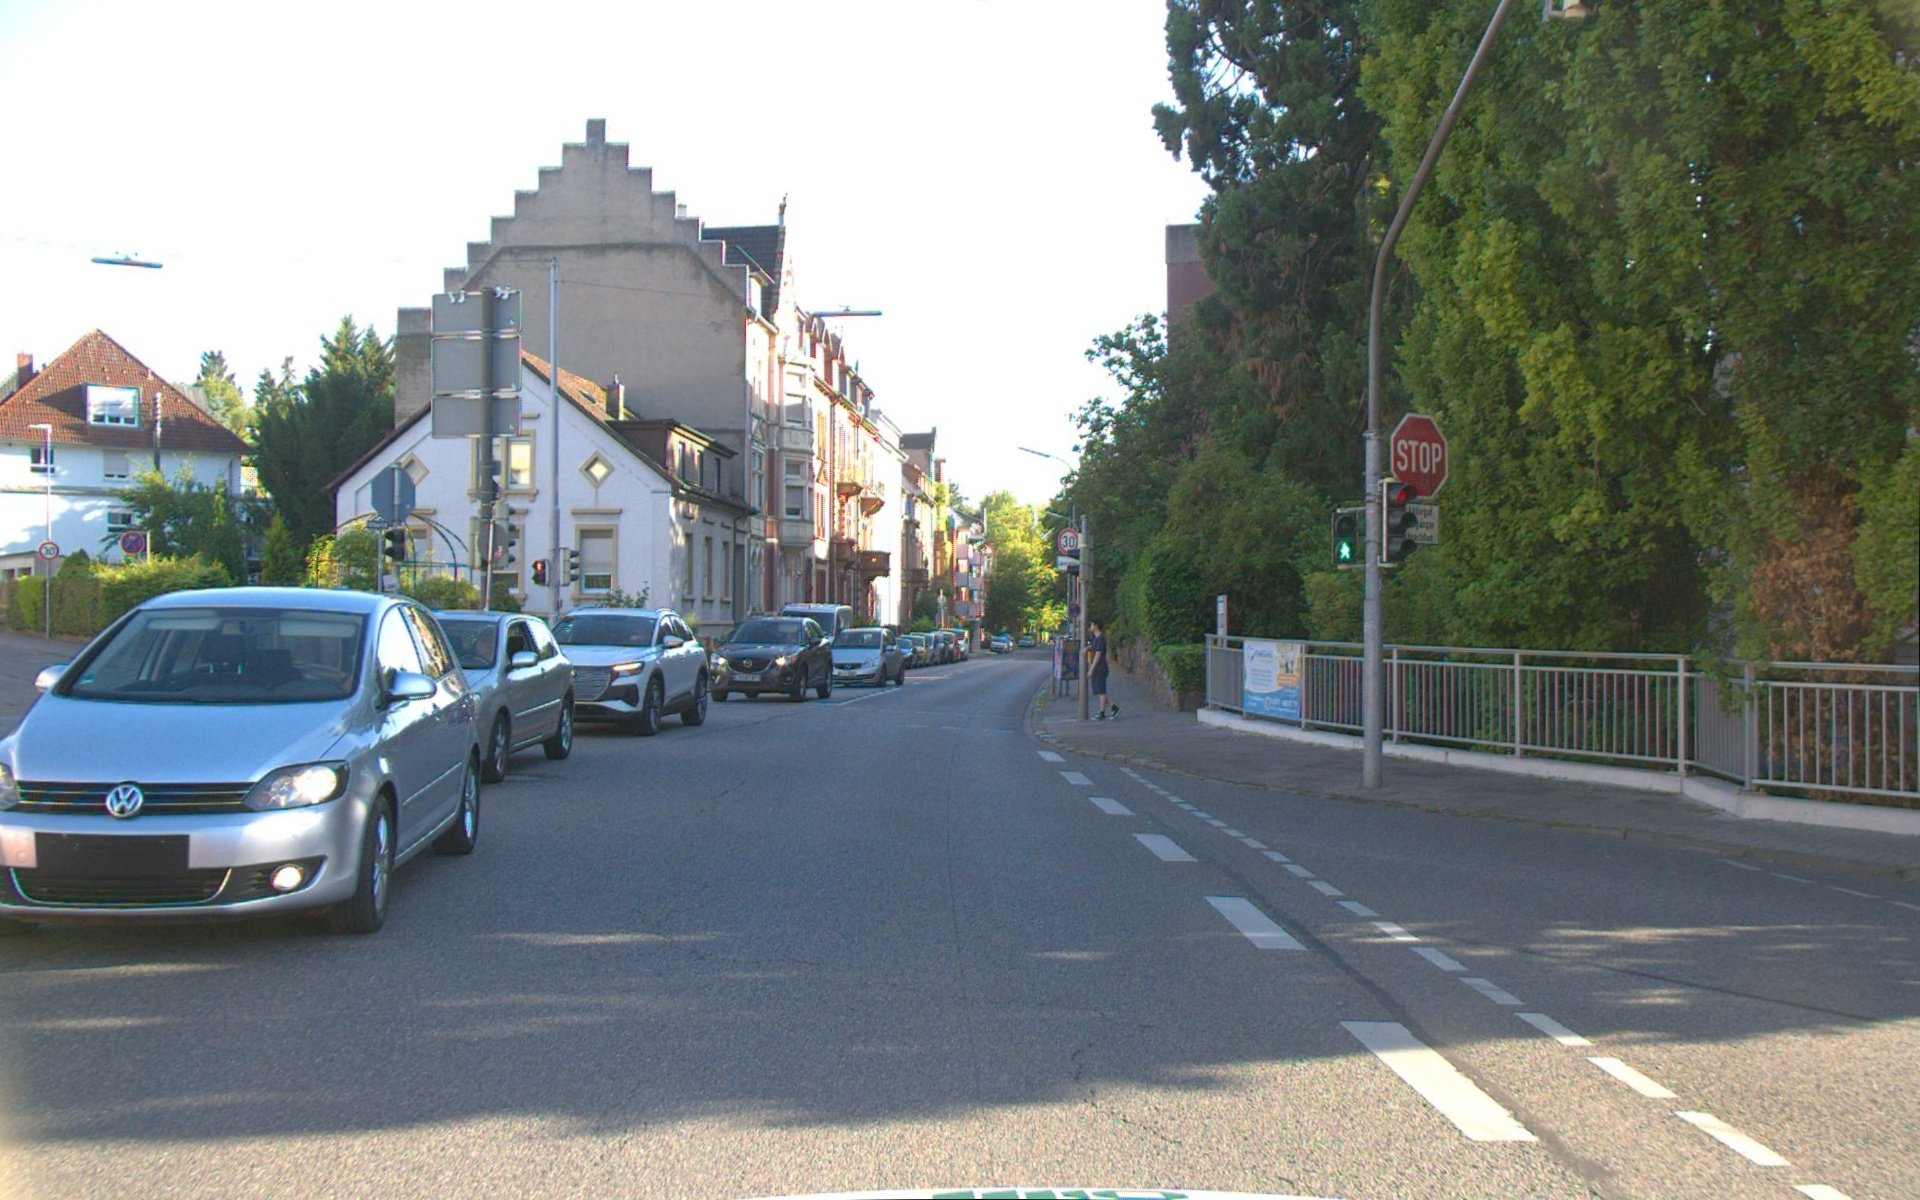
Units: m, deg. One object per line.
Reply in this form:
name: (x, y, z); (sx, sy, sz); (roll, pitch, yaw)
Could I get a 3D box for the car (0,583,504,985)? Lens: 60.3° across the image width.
car: (-3.554, 0.728, 8.546); (1.742, 1.570, 3.993); (1, 0, -8)

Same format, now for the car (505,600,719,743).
car: (-4.563, 0.869, 22.371); (1.738, 1.677, 4.535); (1, 0, 2)

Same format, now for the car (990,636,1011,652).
car: (4.077, 4.388, 166.491); (1.951, 1.518, 4.472); (0, 0, 4)

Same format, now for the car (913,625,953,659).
car: (-1.420, 2.218, 88.843); (1.666, 1.737, 4.442); (1, -1, 5)

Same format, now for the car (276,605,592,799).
car: (-4.701, 0.834, 15.404); (1.740, 1.506, 4.094); (1, 0, -2)

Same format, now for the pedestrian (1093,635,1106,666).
pedestrian: (6.564, 2.383, 77.786); (0.585, 1.427, 0.668); (1, 0, 2)

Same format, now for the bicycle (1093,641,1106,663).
bicycle: (6.528, 2.420, 77.186); (0.554, 0.987, 0.492); (1, 0, 2)

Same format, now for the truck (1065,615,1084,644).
truck: (12.086, 3.073, 174.611); (1.952, 2.947, 4.472); (-1, 0, 4)

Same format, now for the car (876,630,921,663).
car: (-2.749, 2.085, 74.479); (1.667, 1.390, 3.861); (1, -1, 3)

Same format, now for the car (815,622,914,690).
car: (-2.567, 1.501, 45.466); (1.912, 1.677, 4.286); (1, 0, 8)

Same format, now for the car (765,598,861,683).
car: (-4.637, 1.274, 53.018); (2.024, 2.503, 6.017); (1, -1, 5)

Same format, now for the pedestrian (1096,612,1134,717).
pedestrian: (2.567, 1.062, 27.432); (0.589, 1.723, 0.612); (-1, 0, 3)

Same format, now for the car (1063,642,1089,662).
car: (9.401, 4.195, 133.725); (1.951, 1.544, 4.003); (-1, 0, 6)

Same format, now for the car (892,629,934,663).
car: (-2.250, 2.244, 79.535); (1.667, 1.529, 4.073); (1, -2, 3)

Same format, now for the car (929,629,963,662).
car: (-0.782, 2.582, 94.656); (1.667, 1.769, 3.858); (1, -1, 3)

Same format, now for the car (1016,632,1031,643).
car: (8.976, 5.283, 232.753); (1.951, 1.518, 4.472); (0, 0, 4)

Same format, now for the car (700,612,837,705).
car: (-3.764, 1.113, 33.215); (1.912, 1.677, 4.285); (1, 0, 4)

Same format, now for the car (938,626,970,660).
car: (-0.351, 2.705, 105.306); (1.755, 2.046, 4.699); (1, -1, 3)
